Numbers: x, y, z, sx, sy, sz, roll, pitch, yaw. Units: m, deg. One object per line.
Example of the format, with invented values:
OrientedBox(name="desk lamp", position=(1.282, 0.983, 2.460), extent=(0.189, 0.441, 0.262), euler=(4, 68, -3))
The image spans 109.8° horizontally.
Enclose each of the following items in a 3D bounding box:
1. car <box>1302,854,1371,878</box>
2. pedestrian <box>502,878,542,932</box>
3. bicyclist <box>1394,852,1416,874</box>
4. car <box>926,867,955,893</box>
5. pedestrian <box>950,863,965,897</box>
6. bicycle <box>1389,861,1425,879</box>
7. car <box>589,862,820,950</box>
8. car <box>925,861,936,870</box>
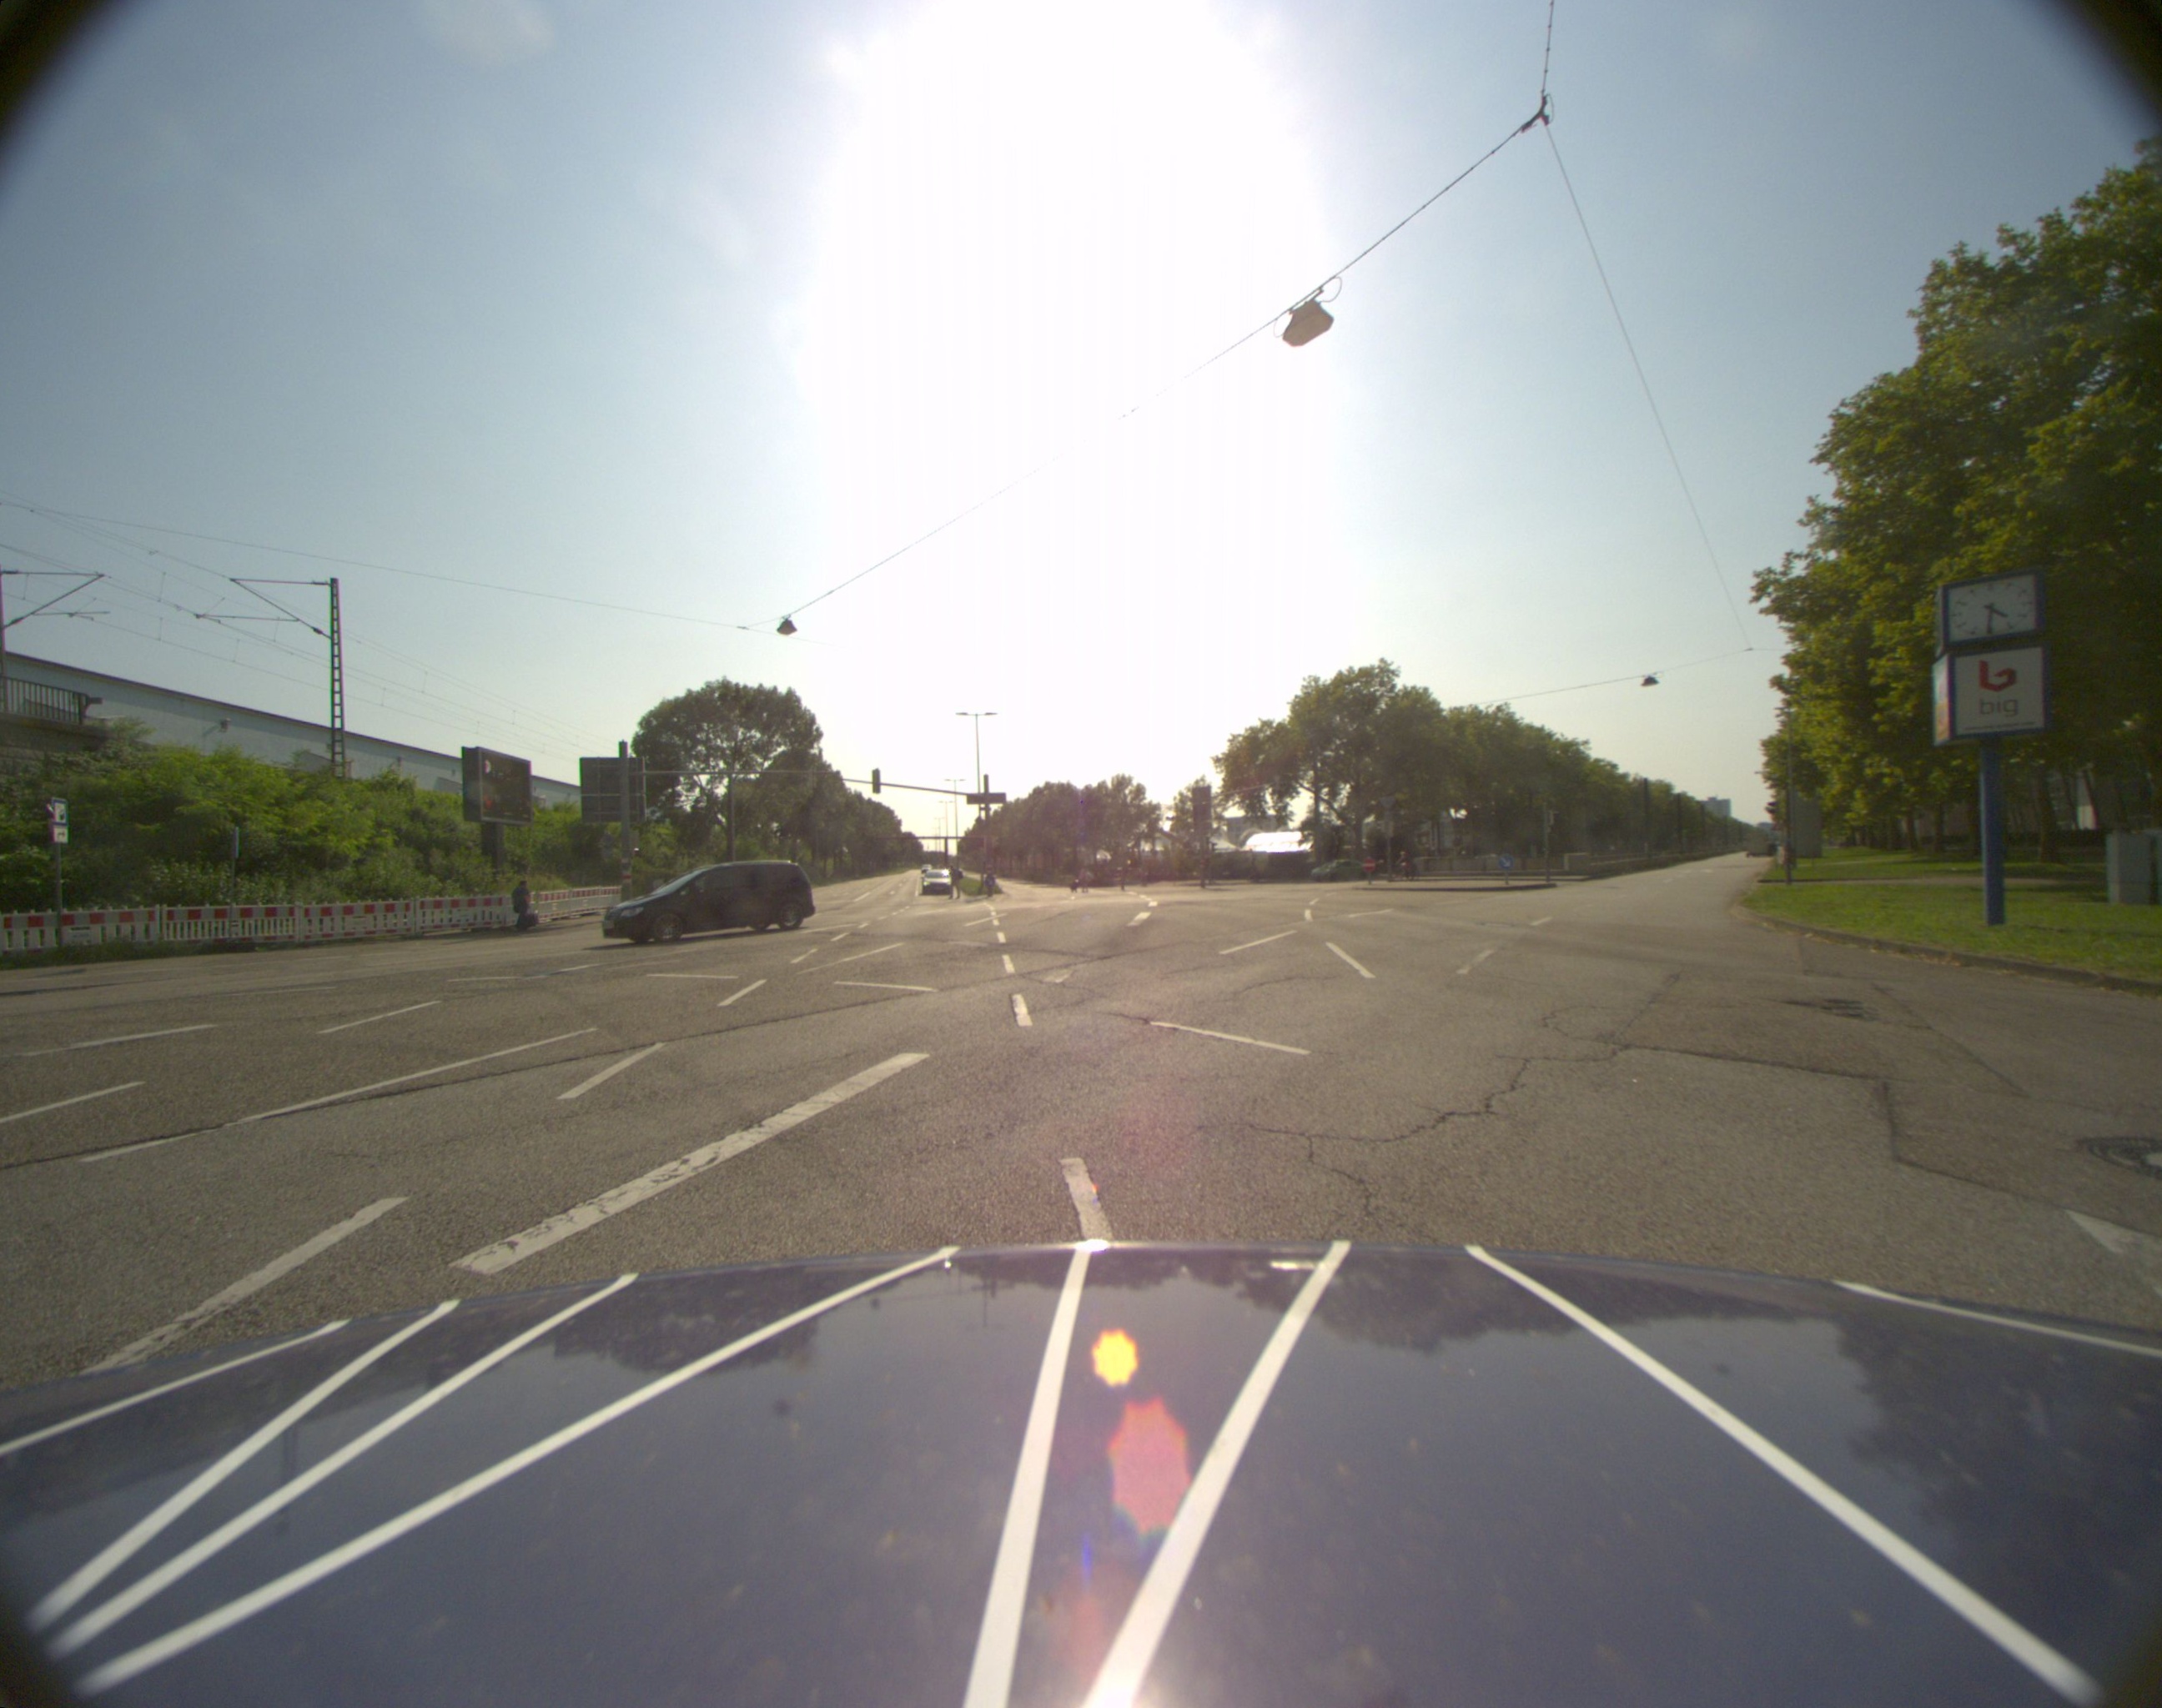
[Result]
OrientedBox(name="car", position=(17.453, 0.810, 51.947), extent=(4.000, 1.543, 1.998), euler=(-2, 0, -10))
OrientedBox(name="pedestrian", position=(-16.643, 1.504, 22.647), extent=(0.650, 1.565, 0.759), euler=(0, 1, -8))
OrientedBox(name="bicyclist", position=(16.981, 0.476, 39.822), extent=(0.522, 1.134, 0.907), euler=(-2, 1, -33))
OrientedBox(name="car", position=(-8.257, 1.495, 44.825), extent=(1.546, 1.433, 3.392), euler=(-2, 0, -8))
OrientedBox(name="pedestrian", position=(-6.288, 1.319, 38.612), extent=(0.647, 1.715, 0.586), euler=(-1, 1, -14))
OrientedBox(name="bicycle", position=(17.050, 0.837, 39.739), extent=(0.531, 0.860, 1.733), euler=(-2, 0, -33))
OrientedBox(name="car", position=(-8.290, 1.090, 17.015), extent=(1.777, 1.578, 4.203), euler=(-5, -2, 42))
OrientedBox(name="car", position=(-26.903, 2.087, 136.110), extent=(1.866, 1.584, 3.997), euler=(-2, 0, -10))
